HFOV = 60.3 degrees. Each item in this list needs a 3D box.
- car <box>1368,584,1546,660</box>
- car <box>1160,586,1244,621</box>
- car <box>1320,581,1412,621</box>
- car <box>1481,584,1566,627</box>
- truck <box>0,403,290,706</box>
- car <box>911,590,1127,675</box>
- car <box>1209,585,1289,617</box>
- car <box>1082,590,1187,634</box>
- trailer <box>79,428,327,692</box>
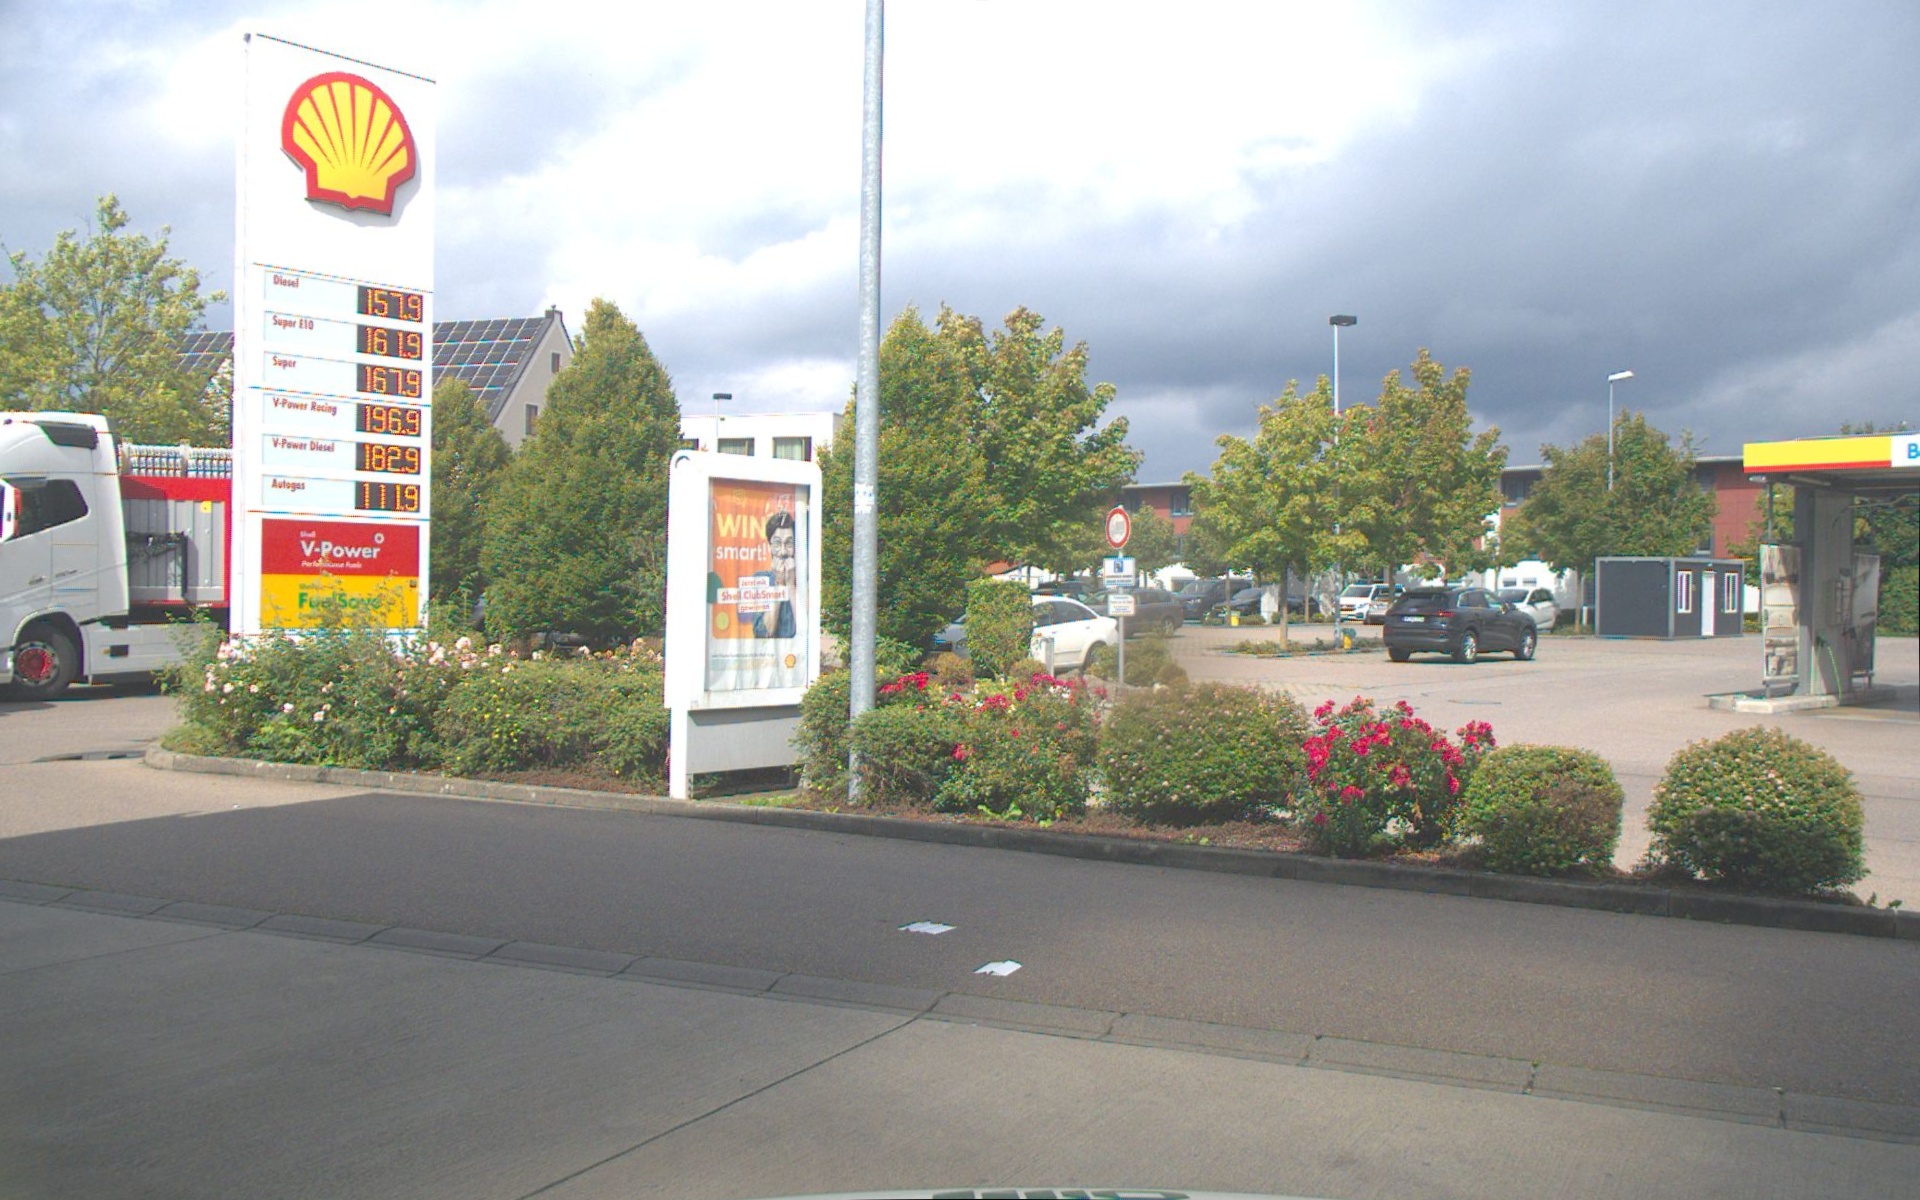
[{"bbox_3d":[11.133,0.492,36.900,4.467,1.575,1.856,1,0,-44],"label":"car"},{"bbox_3d":[9.814,0.150,66.939,3.364,1.343,1.719,1,0,-45],"label":"car"},{"bbox_3d":[19.917,0.043,80.953,4.839,1.865,2.150,1,0,-44],"label":"car"},{"bbox_3d":[18.010,0.177,52.813,3.080,1.330,1.346,1,-1,-45],"label":"car"},{"bbox_3d":[-12.951,-0.584,24.160,2.675,3.913,5.922,1,0,17],"label":"truck"},{"bbox_3d":[1.136,0.580,29.943,1.348,1.428,4.312,1,-1,45],"label":"car"},{"bbox_3d":[11.415,0.047,65.217,3.393,1.199,1.462,1,0,-45],"label":"car"},{"bbox_3d":[5.281,0.371,49.799,3.203,1.249,1.481,1,0,-45],"label":"car"},{"bbox_3d":[-13.488,-0.565,30.523,2.688,3.842,12.646,1,0,-18],"label":"trailer"}]
